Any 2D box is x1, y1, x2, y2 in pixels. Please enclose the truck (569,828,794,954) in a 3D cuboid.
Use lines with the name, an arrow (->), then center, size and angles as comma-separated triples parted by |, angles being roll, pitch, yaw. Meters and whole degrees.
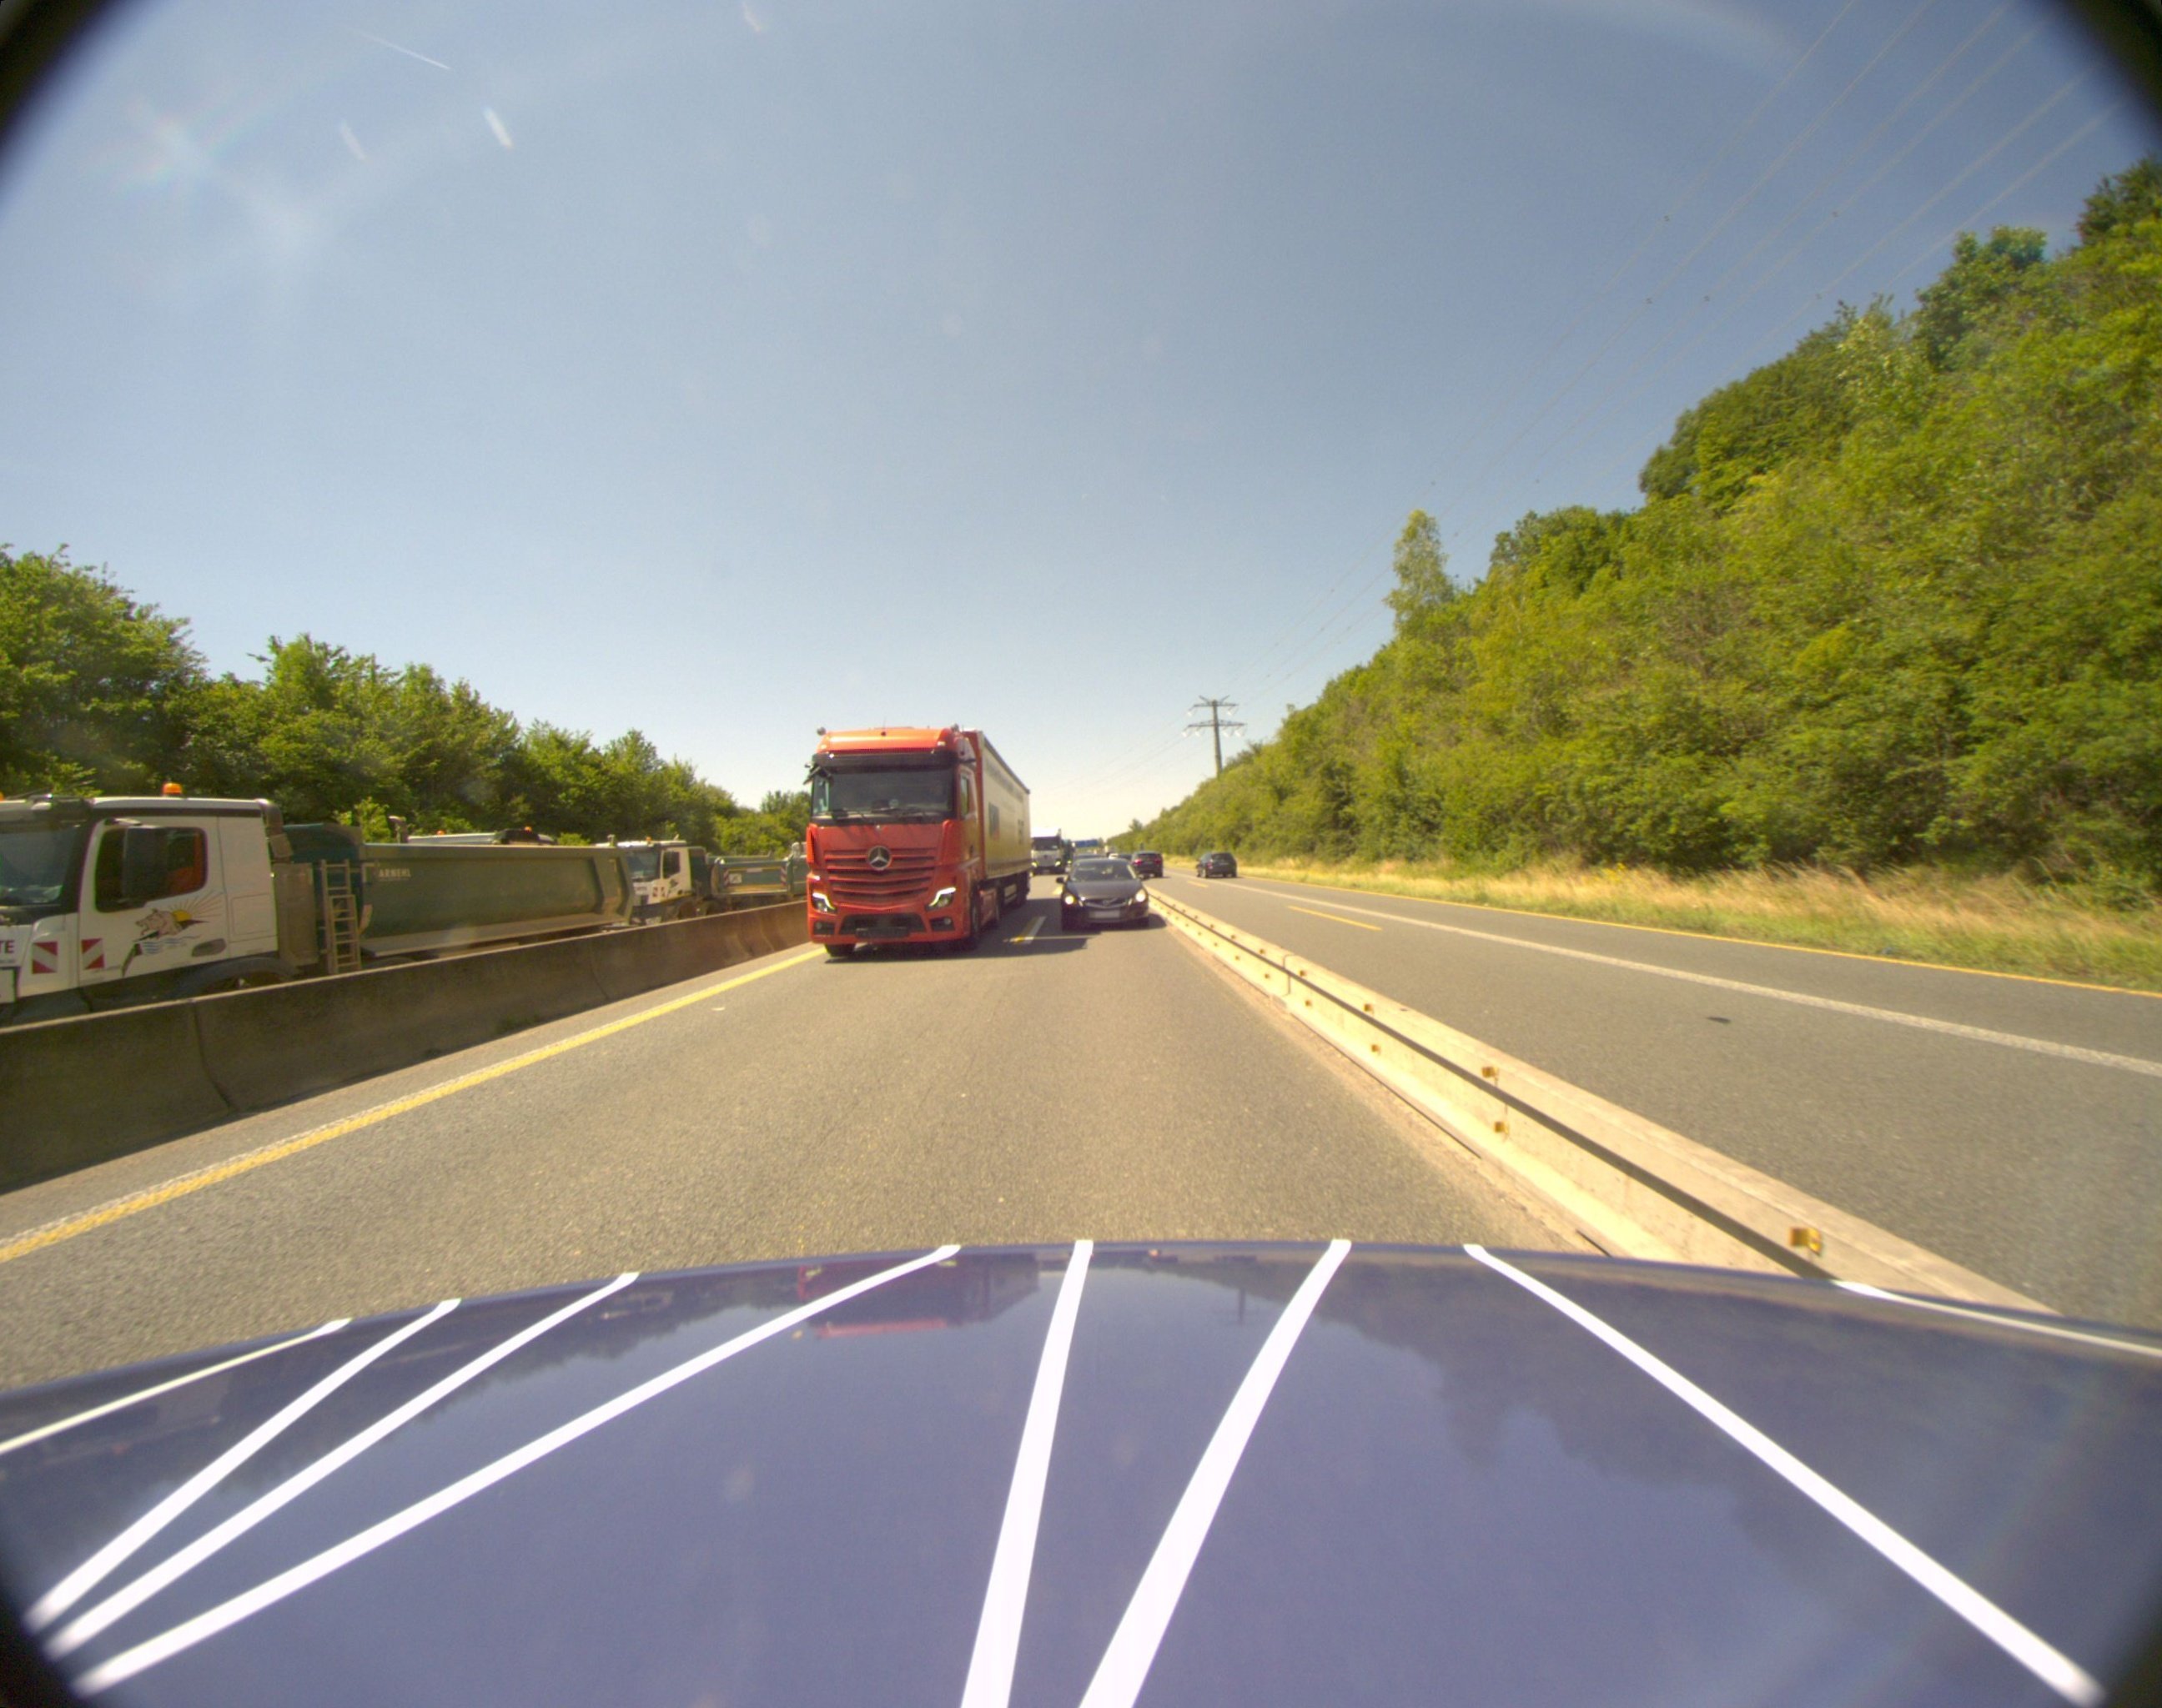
truck -> -13.451, 1.057, 26.915 | 2.694, 3.536, 9.602 | -3, 0, 0

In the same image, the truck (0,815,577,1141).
truck -> -13.116, 1.377, 12.788 | 2.694, 3.536, 9.601 | -3, 0, 0

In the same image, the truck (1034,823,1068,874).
truck -> -2.566, -0.489, 68.604 | 2.481, 4.030, 13.109 | -3, 0, 0

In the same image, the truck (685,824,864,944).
truck -> -10.682, 0.890, 27.907 | 2.545, 3.536, 9.601 | -3, 0, 0

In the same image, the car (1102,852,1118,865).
car -> 3.648, 0.551, 96.109 | 1.848, 1.524, 4.671 | -4, 0, 0

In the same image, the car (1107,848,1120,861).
car -> 5.253, 0.043, 122.234 | 1.895, 2.002, 4.817 | -3, 0, 1

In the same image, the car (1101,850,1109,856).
car -> 6.262, -0.265, 197.106 | 1.717, 1.417, 4.169 | -3, 1, -1

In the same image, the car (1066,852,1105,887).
car -> 0.249, 0.727, 38.486 | 1.767, 1.523, 4.698 | -3, 1, 1

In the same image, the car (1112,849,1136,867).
car -> 3.897, 0.340, 69.659 | 1.848, 1.524, 4.671 | -4, 0, 0

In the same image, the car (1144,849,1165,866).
car -> 7.445, 0.353, 77.448 | 1.704, 1.556, 3.994 | -3, 0, 0

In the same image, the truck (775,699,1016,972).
truck -> -3.084, -0.301, 14.793 | 2.689, 3.987, 6.725 | -3, 1, 1

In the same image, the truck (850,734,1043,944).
truck -> -2.943, -0.368, 21.456 | 2.689, 3.987, 13.217 | -3, 1, 1

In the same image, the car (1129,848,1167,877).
car -> 4.116, 0.480, 47.372 | 1.848, 1.601, 4.699 | -4, 0, 0

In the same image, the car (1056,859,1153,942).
car -> 0.504, 0.879, 16.469 | 1.767, 1.411, 4.699 | -2, 1, 2

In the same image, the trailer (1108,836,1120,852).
trailer -> 9.252, -2.881, 212.923 | 2.644, 4.287, 8.447 | -3, 0, 0

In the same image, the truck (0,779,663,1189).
truck -> -10.360, 1.158, 11.368 | 2.694, 3.536, 9.602 | -3, 0, 0

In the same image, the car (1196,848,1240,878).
car -> 7.597, 0.464, 42.497 | 1.727, 1.513, 4.184 | -2, 0, 1
